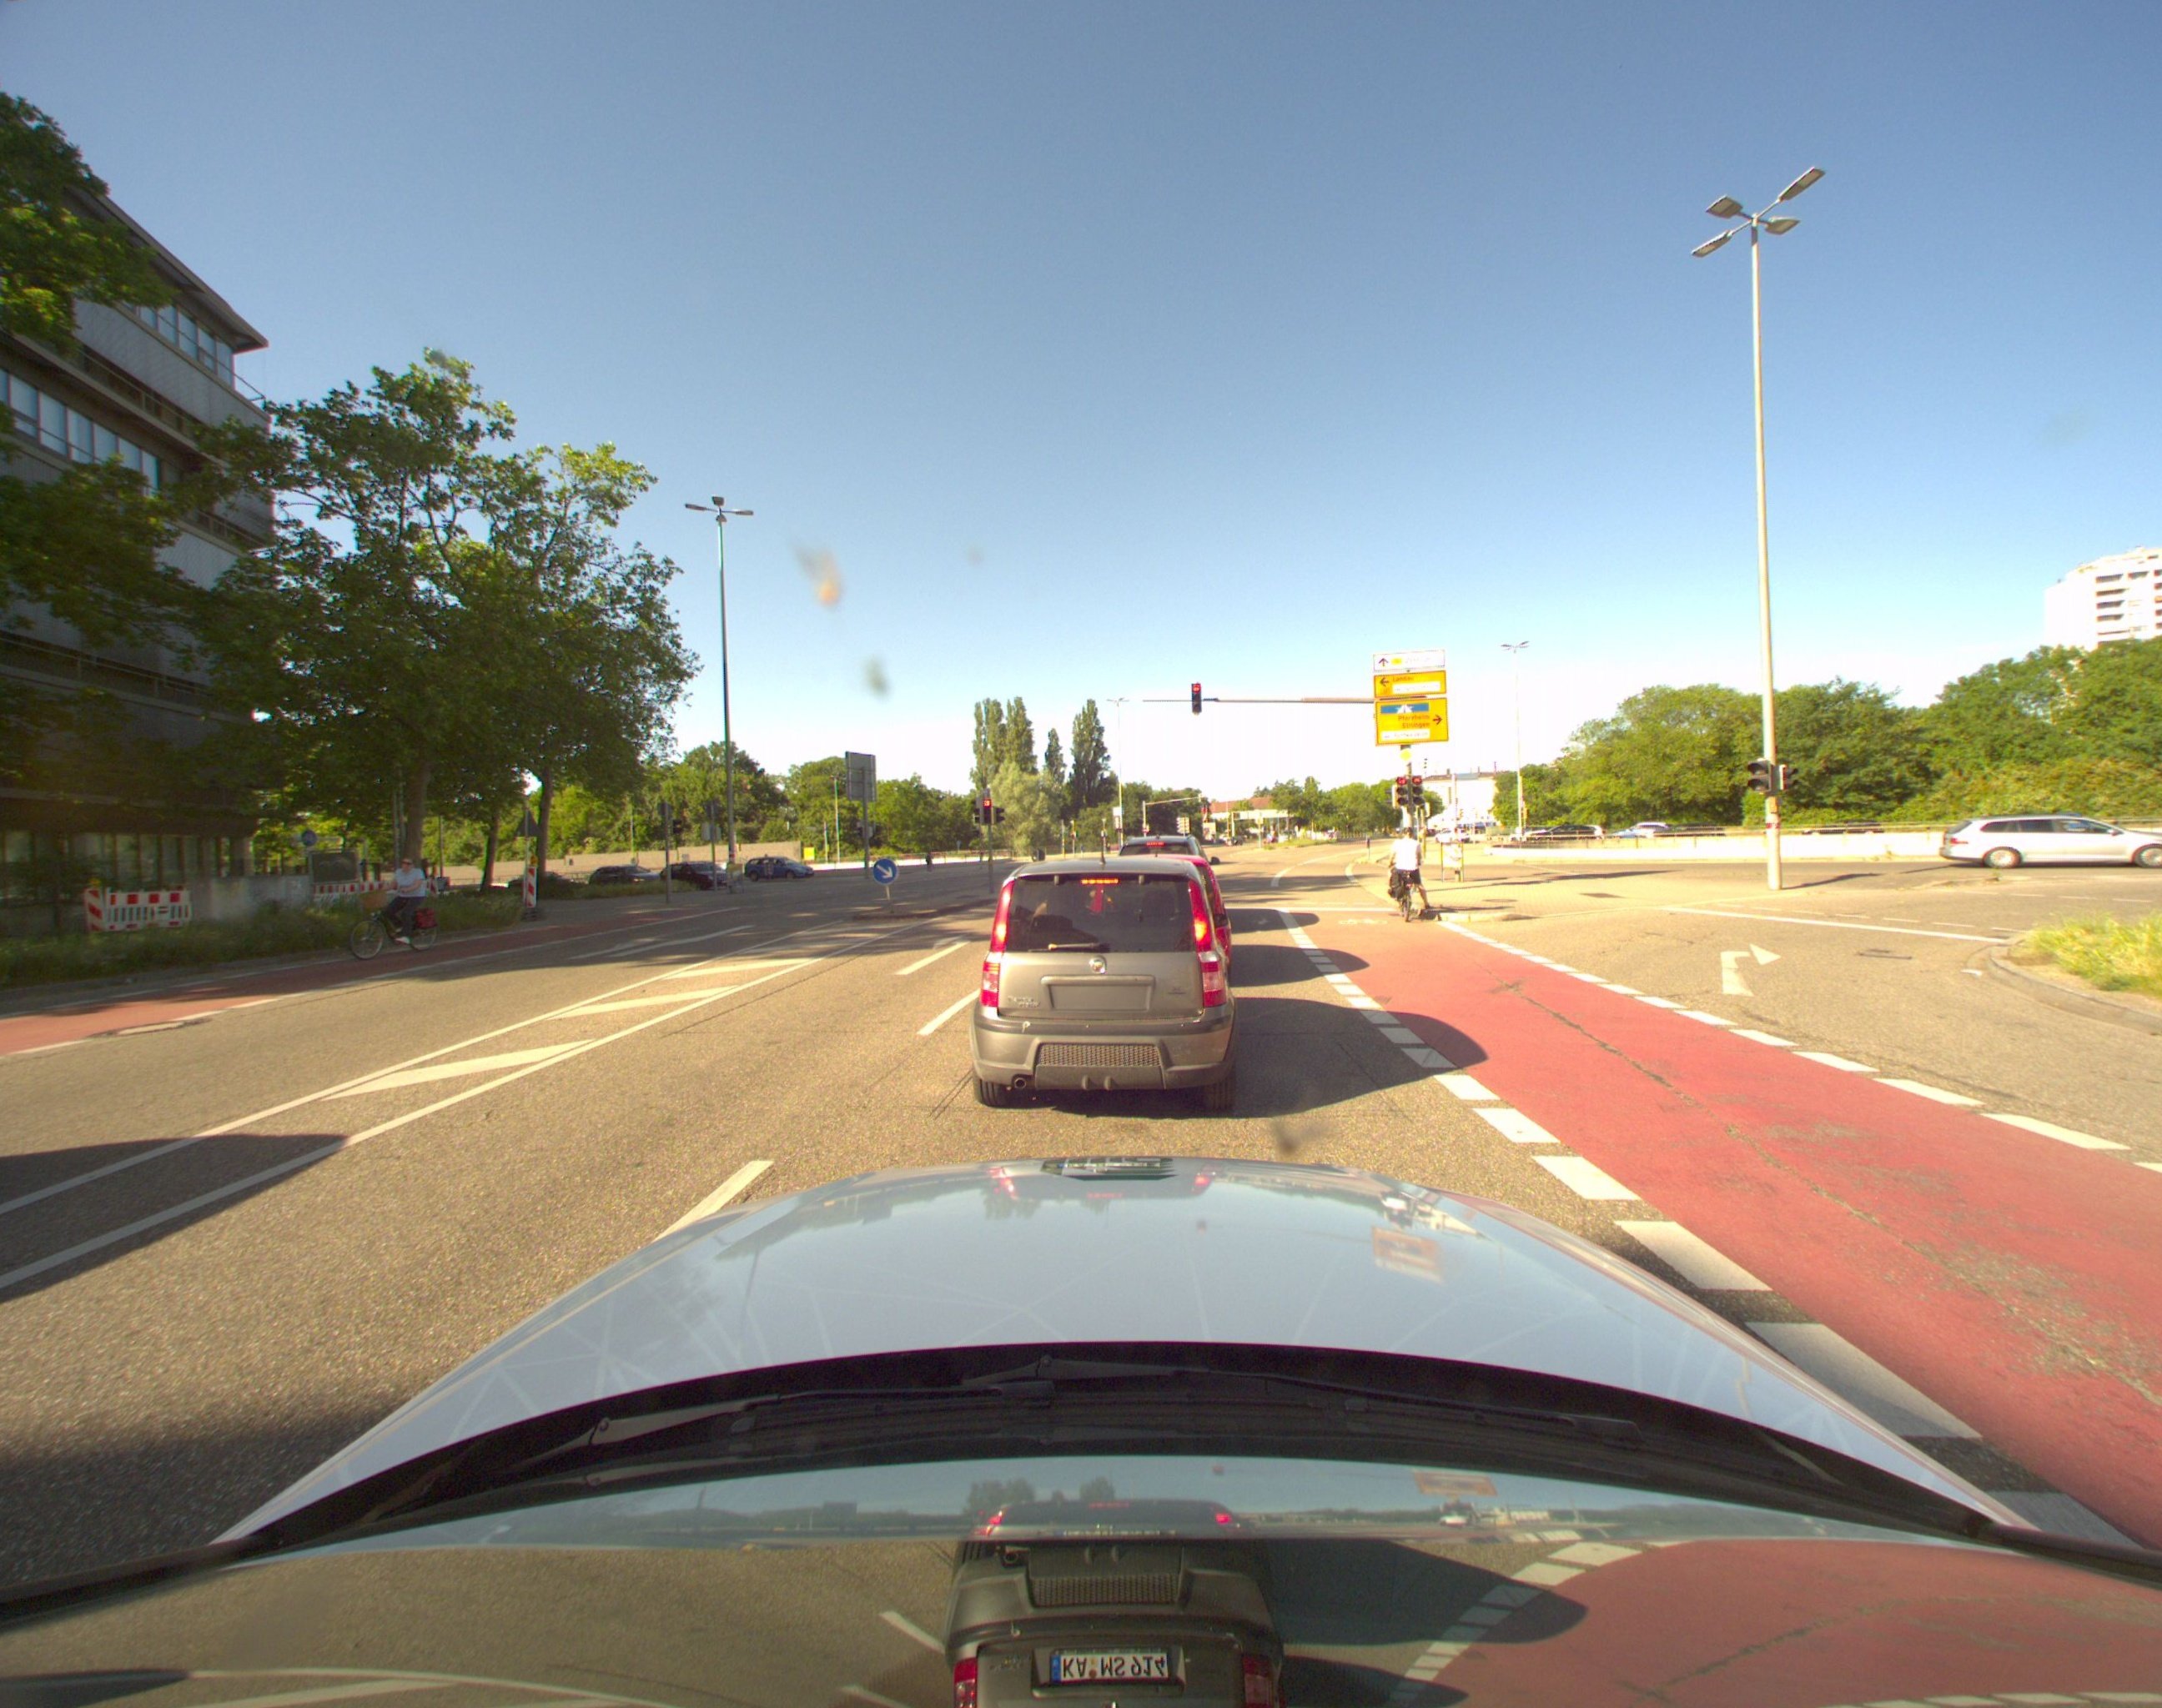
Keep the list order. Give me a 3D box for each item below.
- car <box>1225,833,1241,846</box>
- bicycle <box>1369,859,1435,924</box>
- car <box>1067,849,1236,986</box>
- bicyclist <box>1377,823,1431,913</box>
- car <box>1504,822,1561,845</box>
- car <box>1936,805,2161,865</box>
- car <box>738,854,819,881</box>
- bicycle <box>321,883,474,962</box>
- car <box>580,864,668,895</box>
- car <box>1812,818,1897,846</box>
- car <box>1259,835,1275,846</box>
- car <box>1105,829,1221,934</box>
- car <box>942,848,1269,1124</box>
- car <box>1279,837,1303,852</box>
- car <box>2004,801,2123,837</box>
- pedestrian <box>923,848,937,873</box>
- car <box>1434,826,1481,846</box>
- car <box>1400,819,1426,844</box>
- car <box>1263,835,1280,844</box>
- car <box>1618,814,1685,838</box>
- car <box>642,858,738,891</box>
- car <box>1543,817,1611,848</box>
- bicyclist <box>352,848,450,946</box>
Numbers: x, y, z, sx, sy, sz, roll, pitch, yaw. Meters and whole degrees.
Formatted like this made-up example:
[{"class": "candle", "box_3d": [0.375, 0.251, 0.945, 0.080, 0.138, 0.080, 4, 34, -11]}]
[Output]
[{"class": "car", "box_3d": [25.544, -2.406, 137.016, 1.996, 1.855, 4.452, -2, -2, 19]}, {"class": "bicycle", "box_3d": [6.314, 0.689, 15.936, 0.791, 1.110, 2.417, -1, 1, 31]}, {"class": "car", "box_3d": [0.929, 0.681, 10.857, 1.811, 1.479, 4.005, 0, 0, 5]}, {"class": "bicyclist", "box_3d": [6.379, 0.262, 16.061, 0.791, 1.705, 1.092, -1, 1, 31]}, {"class": "car", "box_3d": [39.502, -1.780, 71.351, 2.002, 1.750, 3.968, 0, -2, -24]}, {"class": "car", "box_3d": [26.510, -0.506, 22.162, 4.293, 1.493, 1.768, 0, 2, 40]}, {"class": "car", "box_3d": [-18.856, 0.829, 50.824, 4.403, 1.438, 1.834, -2, 0, 15]}, {"class": "bicycle", "box_3d": [-12.500, 1.205, 15.022, 0.684, 1.202, 2.330, -2, 1, 5]}, {"class": "car", "box_3d": [-24.952, 1.390, 44.460, 4.396, 1.438, 1.836, -2, 1, 24]}, {"class": "car", "box_3d": [52.242, -1.465, 55.110, 3.948, 1.662, 2.013, -2, -2, 38]}, {"class": "car", "box_3d": [34.775, -2.431, 152.456, 1.995, 1.855, 4.913, -2, -2, 24]}, {"class": "car", "box_3d": [1.776, 0.442, 16.221, 1.857, 1.790, 4.428, 0, 1, 11]}, {"class": "car", "box_3d": [0.315, 0.705, 6.512, 1.811, 1.489, 4.006, 0, 1, 5]}, {"class": "car", "box_3d": [28.253, -1.260, 109.475, 1.994, 1.855, 4.914, -2, -2, 26]}, {"class": "car", "box_3d": [59.473, -2.089, 49.436, 4.205, 1.855, 2.032, -2, -2, 37]}, {"class": "pedestrian", "box_3d": [-10.143, 0.454, 54.633, 0.684, 1.538, 1.365, -1, -5, 0]}, {"class": "car", "box_3d": [37.242, -1.794, 80.632, 2.000, 1.750, 3.972, 0, -2, -20]}, {"class": "car", "box_3d": [38.754, -2.547, 95.124, 2.236, 2.607, 4.907, -2, -2, 17]}, {"class": "car", "box_3d": [35.672, -2.661, 152.544, 1.994, 1.545, 4.917, -2, 1, 28]}, {"class": "car", "box_3d": [44.009, -2.154, 62.834, 1.867, 1.683, 3.951, -3, 1, -44]}, {"class": "car", "box_3d": [-19.635, 1.039, 40.902, 4.396, 1.438, 1.836, -2, 1, 24]}, {"class": "car", "box_3d": [36.400, -1.553, 59.772, 3.948, 2.014, 2.012, -3, -2, 40]}, {"class": "bicyclist", "box_3d": [-12.518, 0.755, 15.028, 0.684, 1.701, 1.199, -2, 0, 4]}]
